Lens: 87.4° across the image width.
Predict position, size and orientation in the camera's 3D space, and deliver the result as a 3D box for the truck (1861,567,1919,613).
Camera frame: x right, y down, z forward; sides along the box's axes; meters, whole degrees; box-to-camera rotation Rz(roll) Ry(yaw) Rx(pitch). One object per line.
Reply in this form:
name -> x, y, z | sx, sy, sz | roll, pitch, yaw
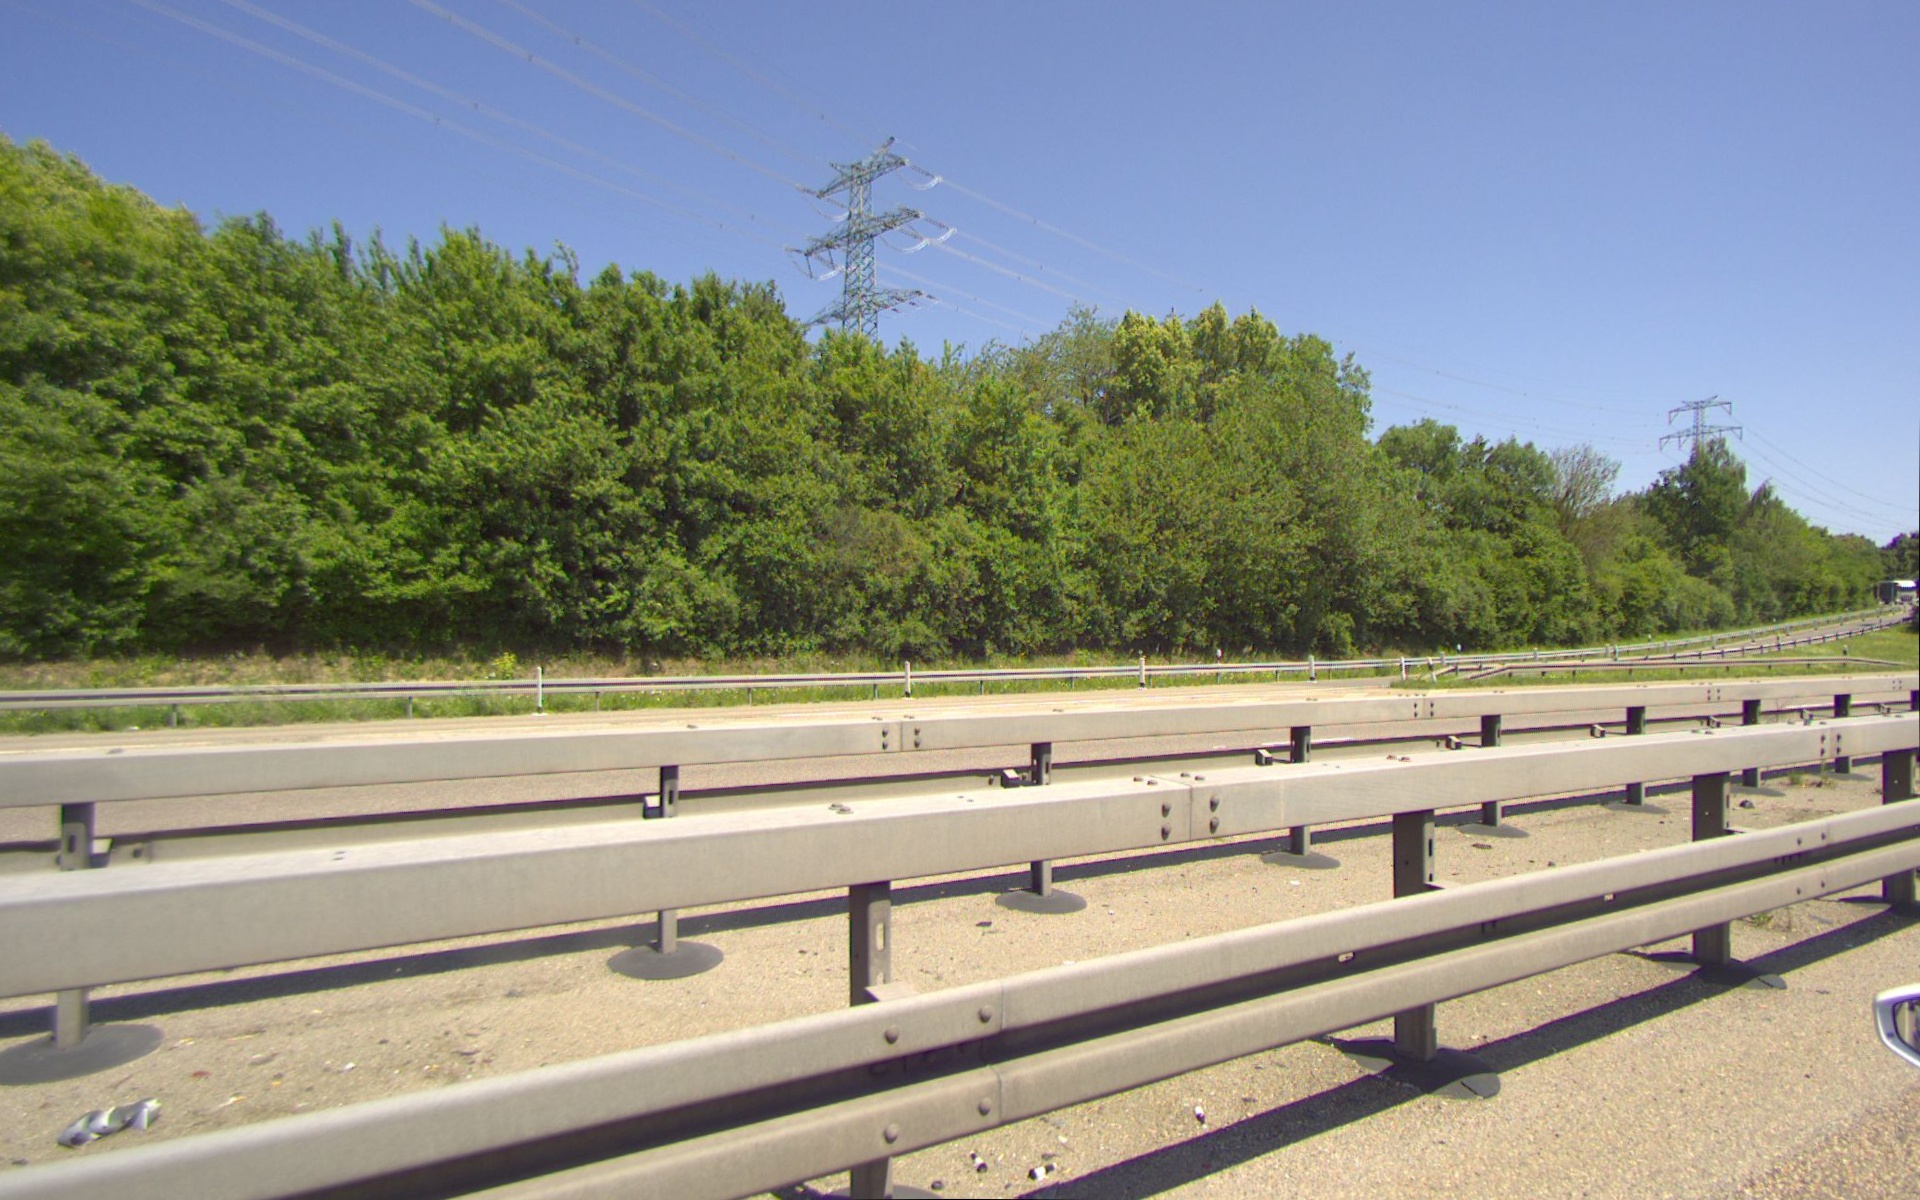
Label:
truck -> 160.076, -1.579, 172.801 | 4.603, 7.324, 13.615 | 2, 0, 30
